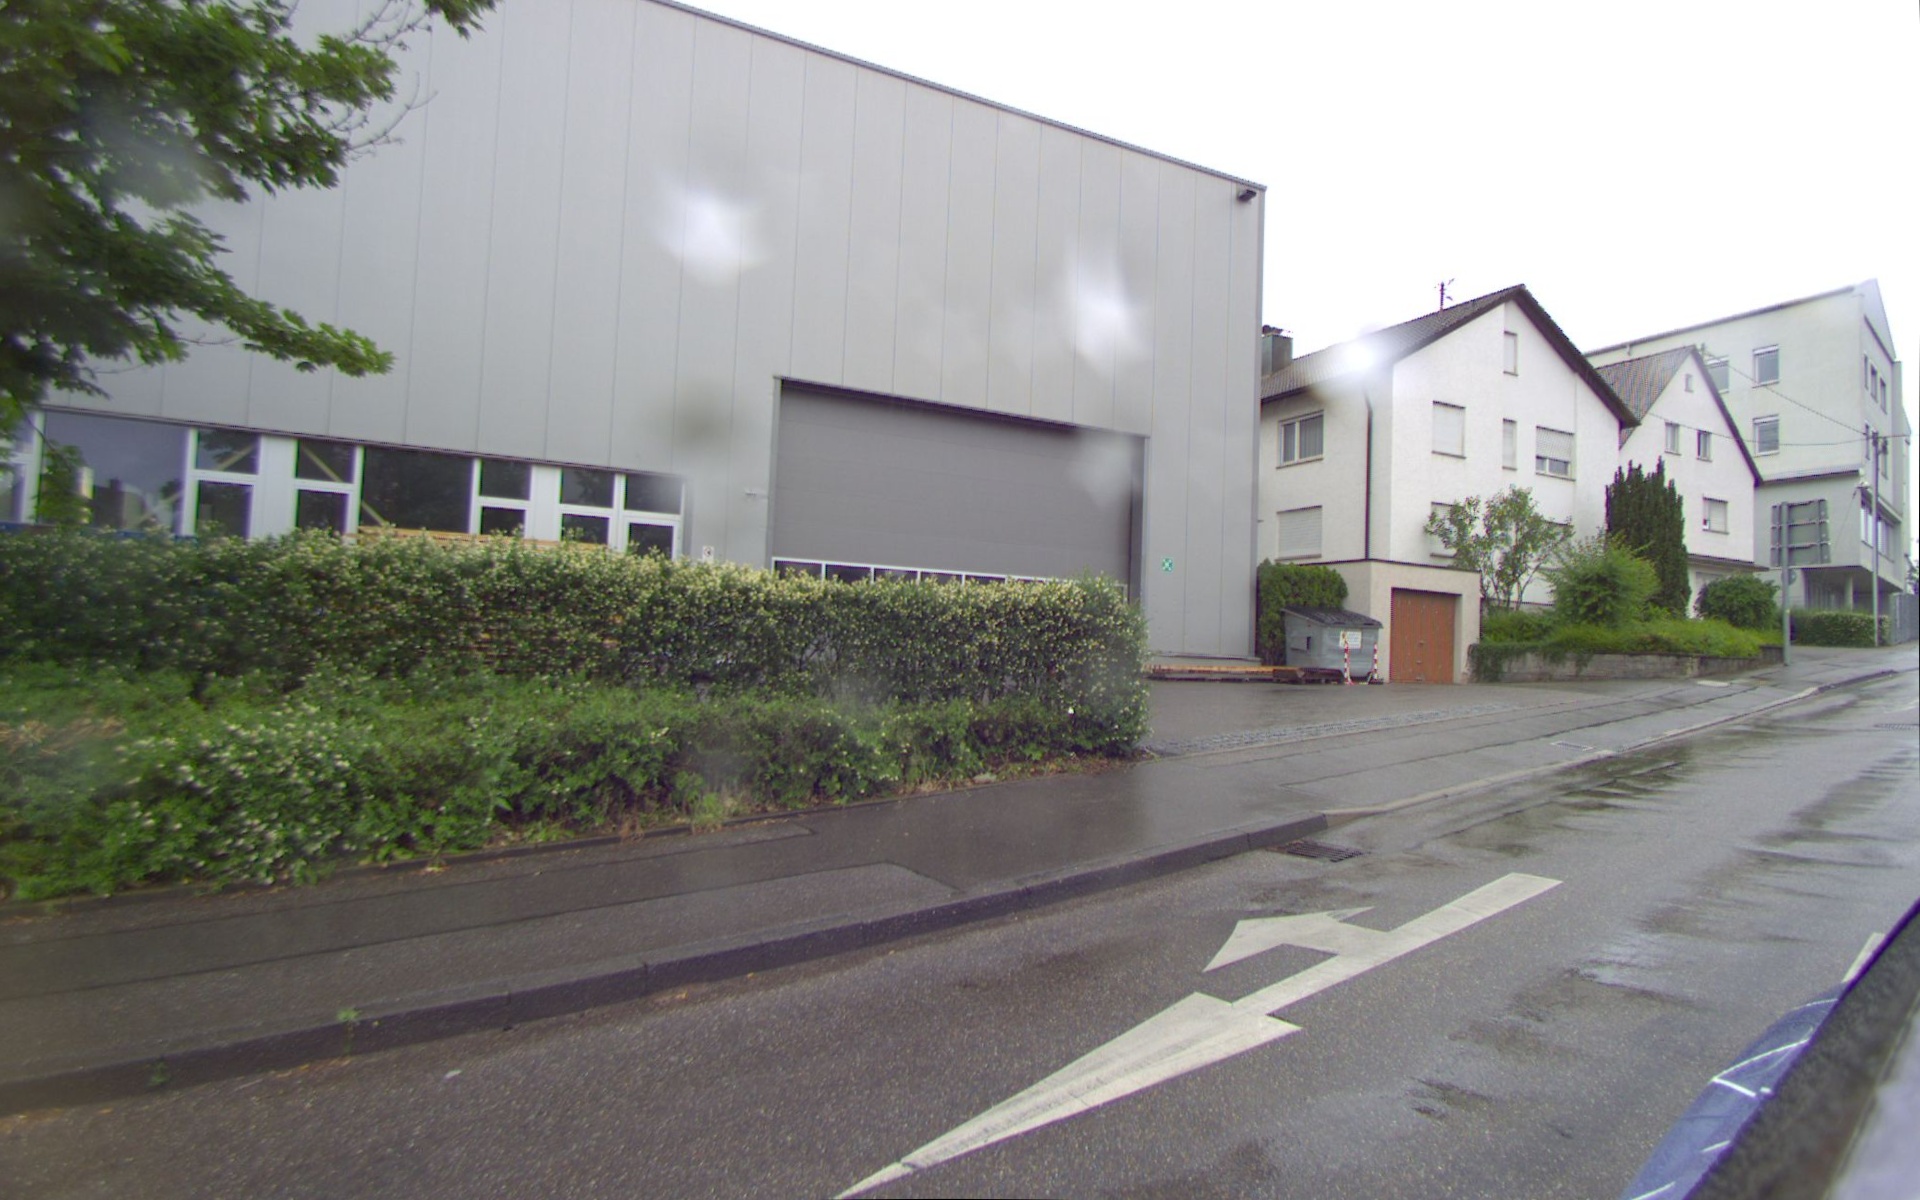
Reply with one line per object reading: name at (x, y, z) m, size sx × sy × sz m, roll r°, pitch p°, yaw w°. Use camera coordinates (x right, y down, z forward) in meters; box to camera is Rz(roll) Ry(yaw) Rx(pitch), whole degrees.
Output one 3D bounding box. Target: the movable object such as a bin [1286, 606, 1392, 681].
movable object such as a bin at (8.167, 0.911, 21.825) m, size 1.742 × 1.537 × 1.268 m, roll 1°, pitch 0°, yaw -25°
